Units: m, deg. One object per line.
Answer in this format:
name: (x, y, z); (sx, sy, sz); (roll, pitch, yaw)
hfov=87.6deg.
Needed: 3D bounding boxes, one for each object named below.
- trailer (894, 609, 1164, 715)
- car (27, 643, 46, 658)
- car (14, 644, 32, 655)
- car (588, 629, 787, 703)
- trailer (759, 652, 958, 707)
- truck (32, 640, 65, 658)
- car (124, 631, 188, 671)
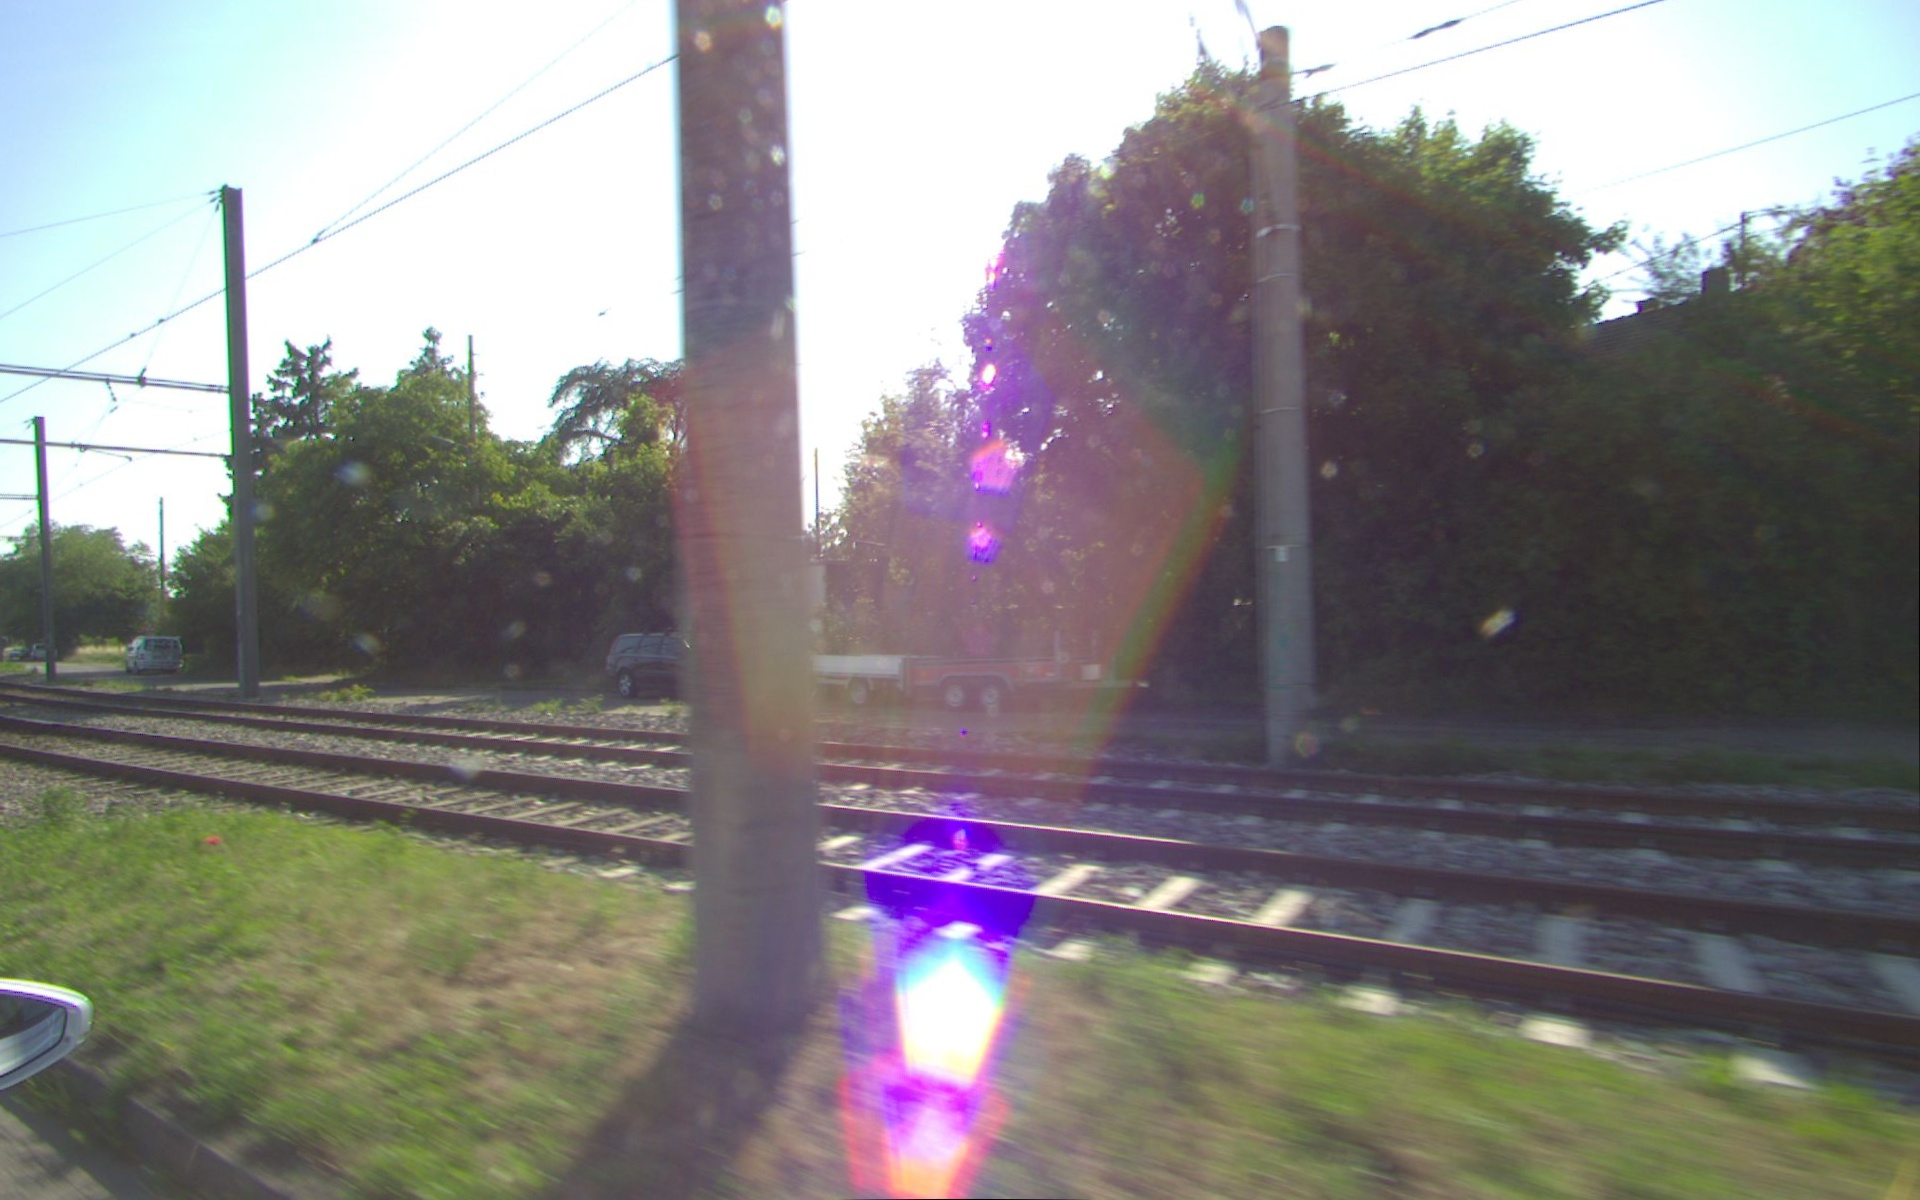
trailer: (1.137, 1.053, 17.238); (4.202, 1.616, 2.022); (-2, -3, 34)
car: (-115.767, 6.358, 125.514); (1.723, 1.700, 3.513); (1, -4, -43)
car: (-128.779, 6.772, 137.620); (3.456, 1.415, 1.612); (-5, -4, 44)
car: (-6.123, 1.415, 22.234); (4.819, 1.474, 1.693); (-2, -3, 38)
trailer: (-2.031, 1.519, 19.661); (3.679, 0.951, 1.727); (-2, -3, 35)
truck: (-96.233, 5.157, 105.693); (5.869, 1.842, 2.191); (-3, -1, 44)
car: (-42.879, 2.735, 53.394); (5.014, 2.029, 1.983); (-3, -4, 44)
